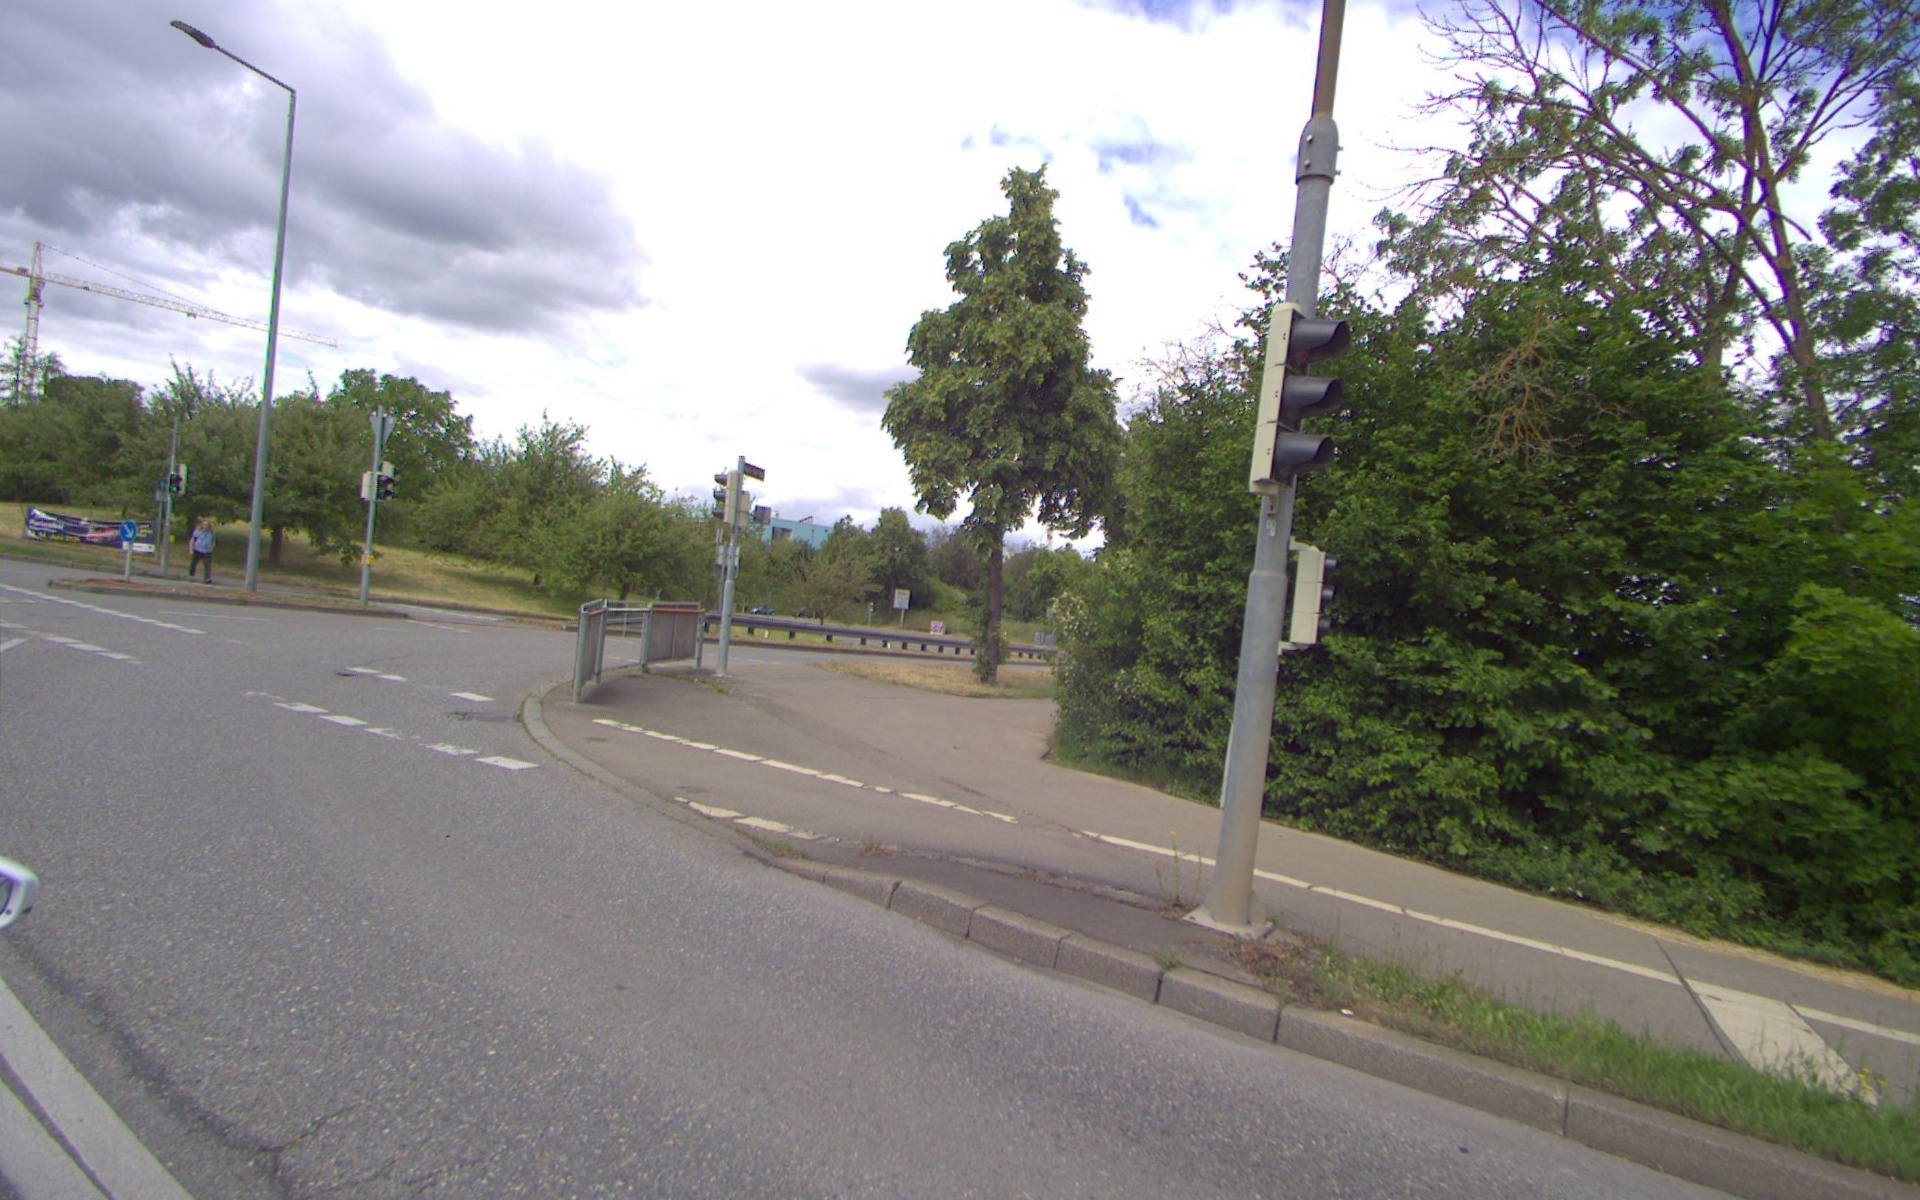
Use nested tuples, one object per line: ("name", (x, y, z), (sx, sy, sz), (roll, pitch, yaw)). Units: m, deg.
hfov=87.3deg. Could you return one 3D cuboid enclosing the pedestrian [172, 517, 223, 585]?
("pedestrian", (-21.980, -1.417, 29.009), (1.027, 1.813, 0.719), (6, -1, 35))
